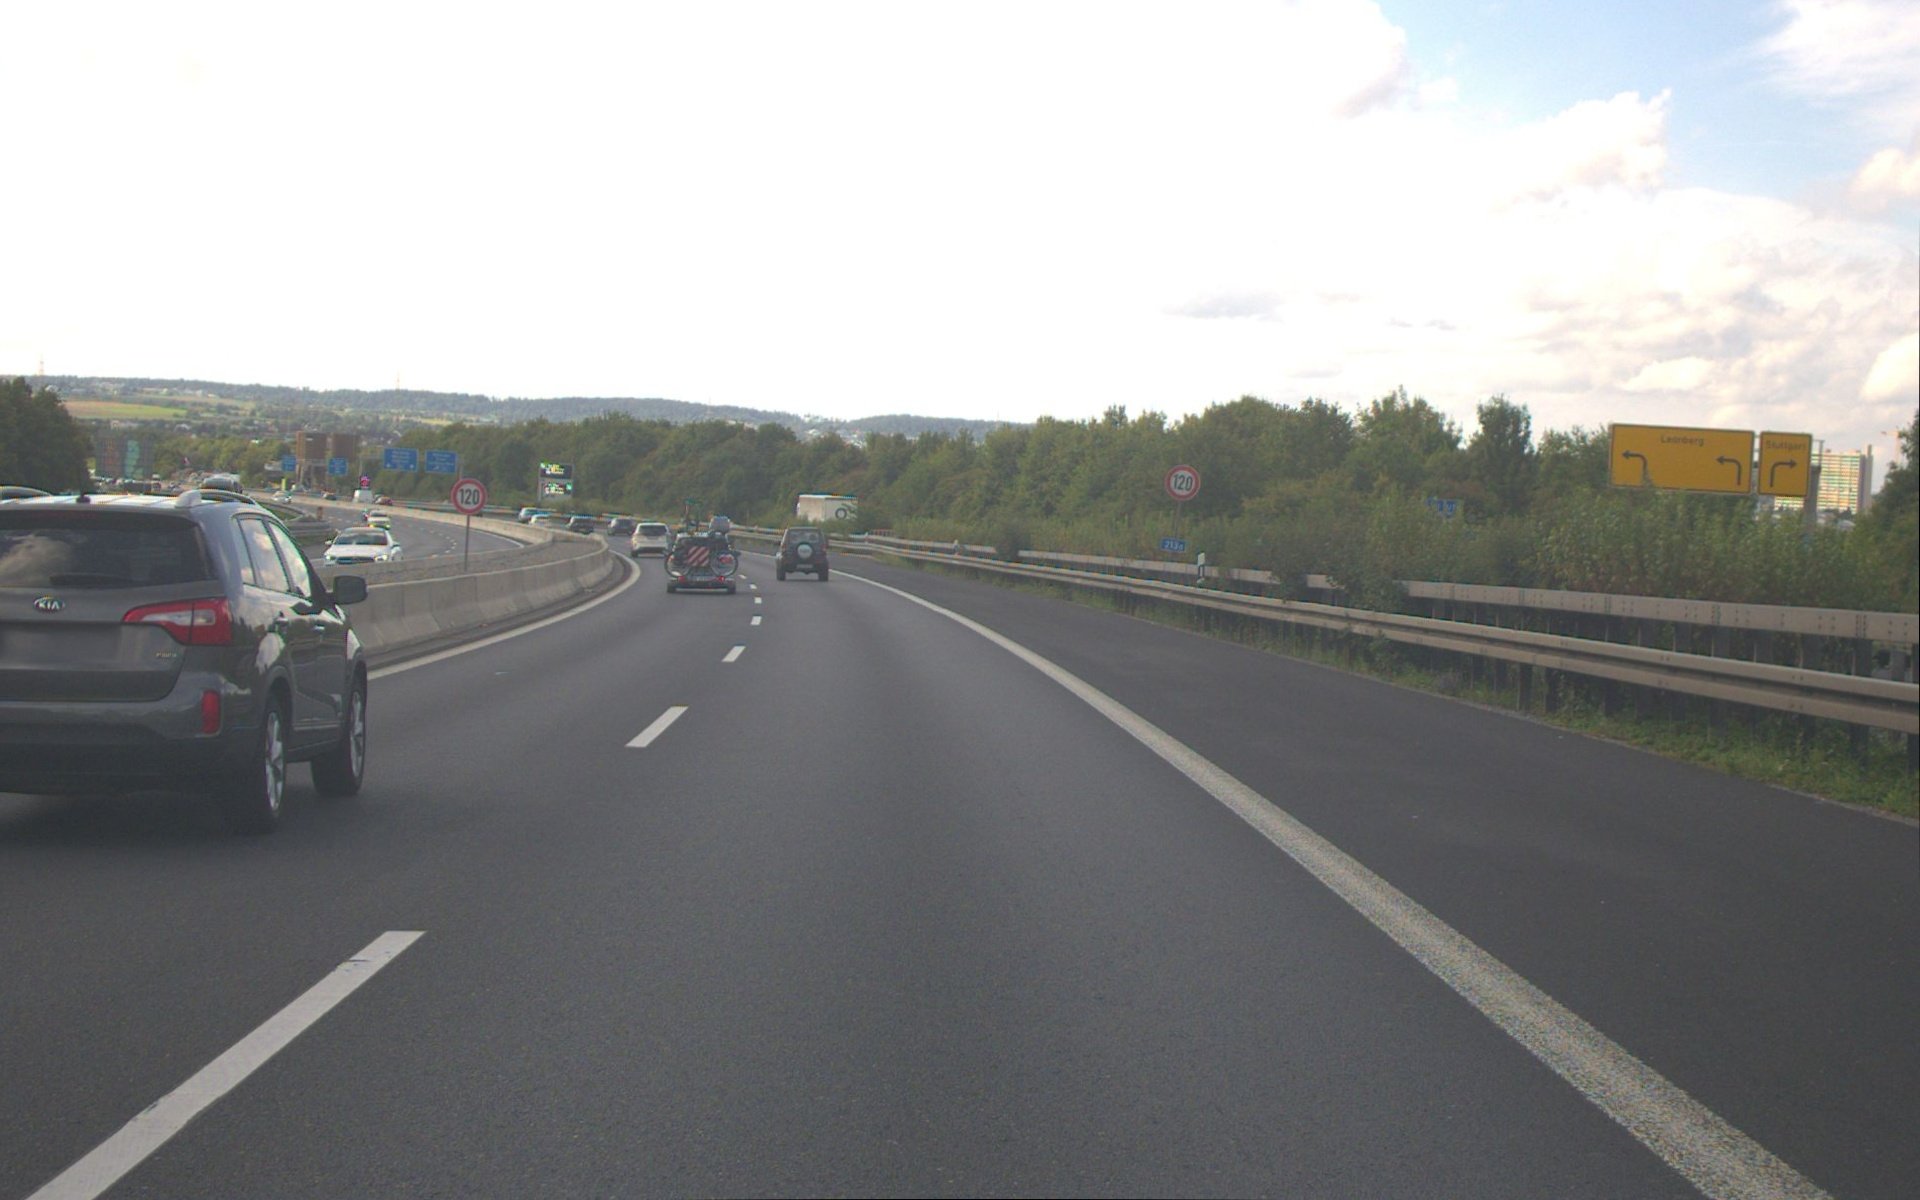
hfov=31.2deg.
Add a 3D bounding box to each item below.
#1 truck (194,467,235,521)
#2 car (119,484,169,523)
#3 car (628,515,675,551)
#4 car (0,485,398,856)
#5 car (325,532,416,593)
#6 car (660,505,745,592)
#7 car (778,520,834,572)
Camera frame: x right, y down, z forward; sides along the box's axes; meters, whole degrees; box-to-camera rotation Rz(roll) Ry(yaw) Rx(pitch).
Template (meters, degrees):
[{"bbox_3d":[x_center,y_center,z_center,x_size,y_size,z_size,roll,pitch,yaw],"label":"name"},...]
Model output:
[{"bbox_3d":[-54.734,-7.778,252.345,2.809,3.813,7.132,1,1,-13],"label":"truck"},{"bbox_3d":[-44.216,-5.213,186.314,1.993,2.007,4.001,1,1,-4],"label":"car"},{"bbox_3d":[-15.161,-3.303,168.855,1.993,1.678,4.001,1,0,-9],"label":"car"},{"bbox_3d":[-4.338,0.282,18.758,1.817,1.730,5.187,1,1,-2],"label":"car"},{"bbox_3d":[-16.025,-1.047,93.690,1.764,1.575,4.933,1,1,-2],"label":"car"},{"bbox_3d":[-6.627,-1.363,88.939,2.030,2.144,4.001,1,2,-3],"label":"car"},{"bbox_3d":[-4.999,-1.758,111.313,1.587,1.591,4.097,1,1,-5],"label":"car"}]
